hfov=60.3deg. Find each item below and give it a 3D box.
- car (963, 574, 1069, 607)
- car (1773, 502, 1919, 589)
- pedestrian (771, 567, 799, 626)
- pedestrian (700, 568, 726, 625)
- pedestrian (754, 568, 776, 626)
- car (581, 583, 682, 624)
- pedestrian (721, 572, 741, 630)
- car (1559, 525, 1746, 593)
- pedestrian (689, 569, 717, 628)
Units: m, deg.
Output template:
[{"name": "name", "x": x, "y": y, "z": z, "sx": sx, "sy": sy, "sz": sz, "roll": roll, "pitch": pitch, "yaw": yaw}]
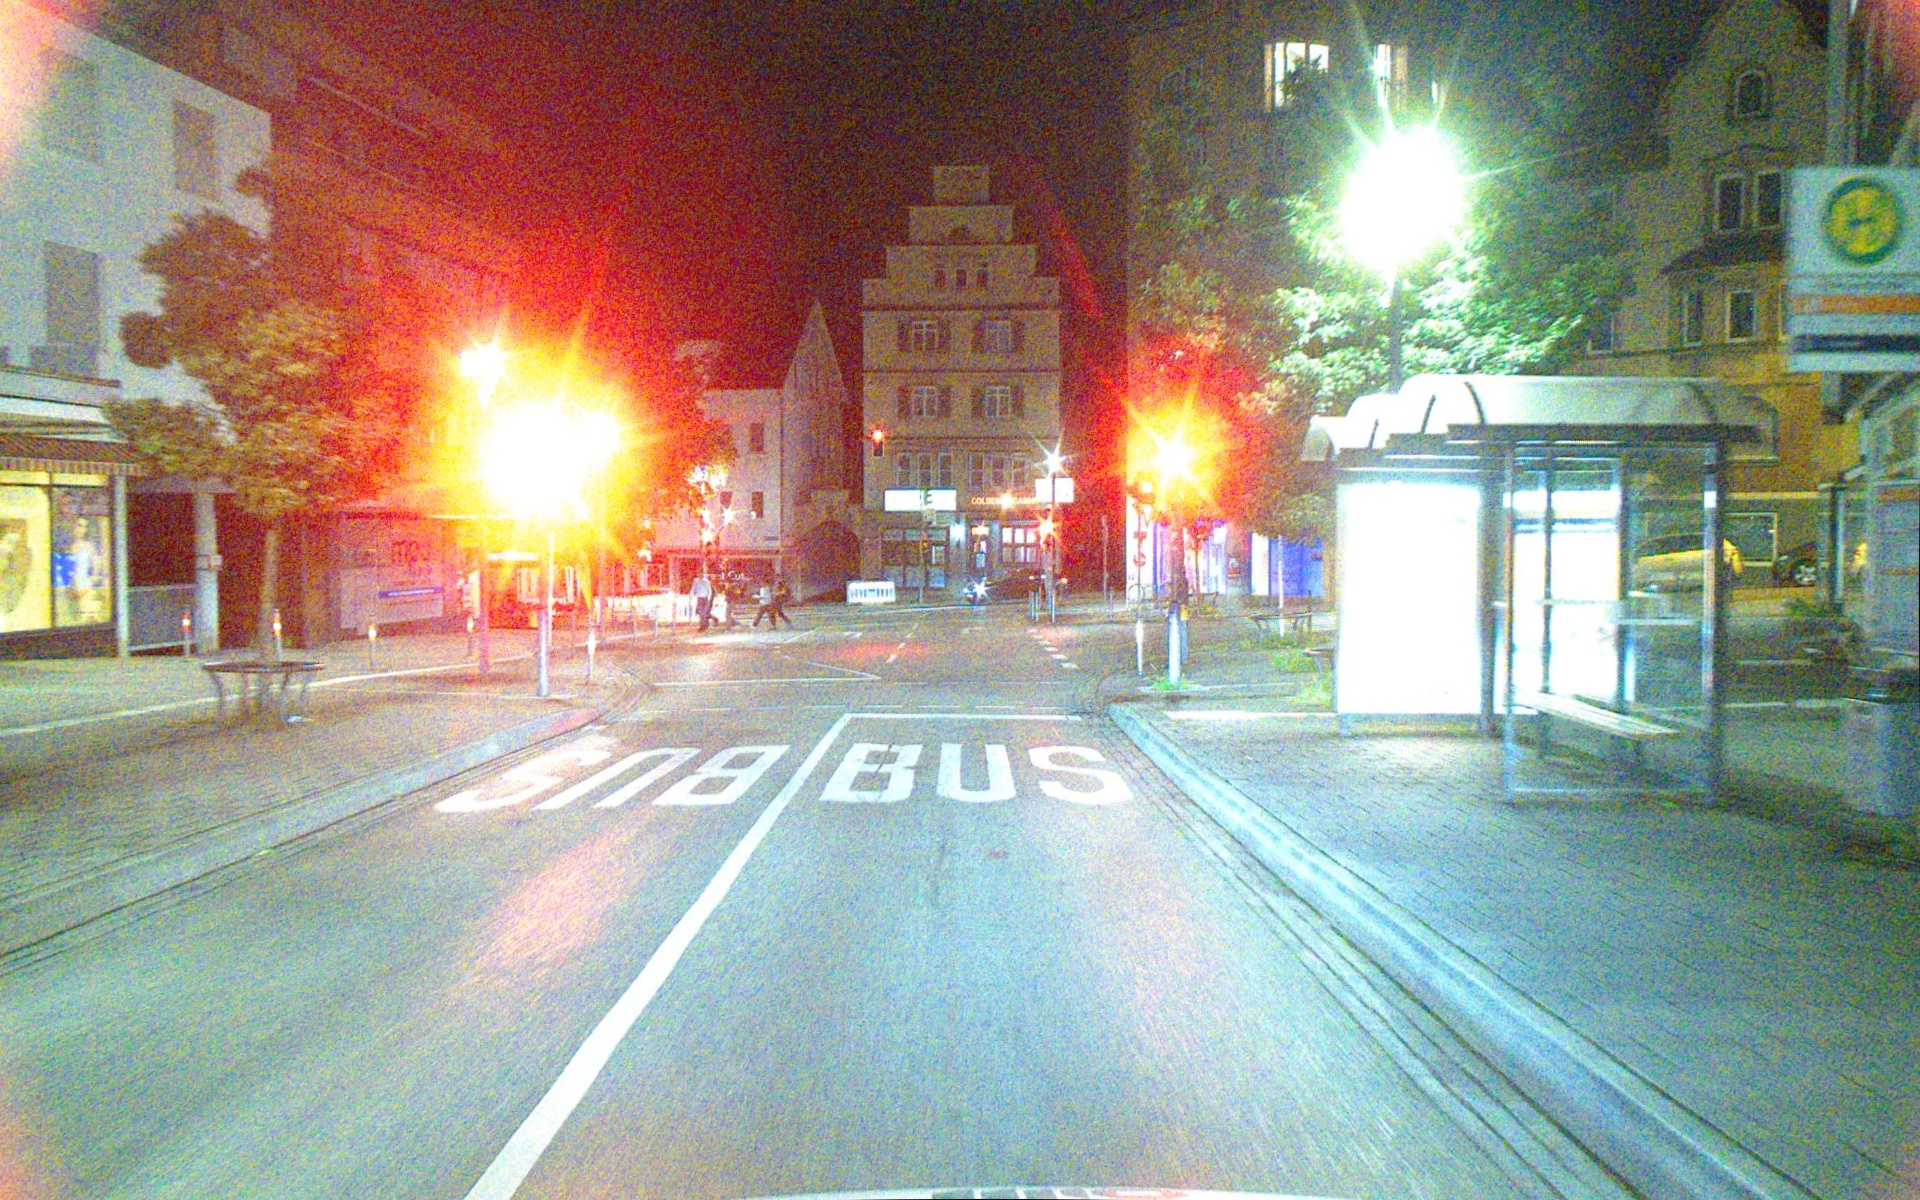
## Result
[{"name": "car", "x": 2.467, "y": -0.392, "z": 72.527, "sx": 4.350, "sy": 1.320, "sz": 1.632, "roll": 1, "pitch": -1, "yaw": -19}, {"name": "car", "x": 22.344, "y": -1.277, "z": 39.770, "sx": 4.748, "sy": 1.943, "sz": 2.151, "roll": 0, "pitch": -1, "yaw": 36}, {"name": "pedestrian", "x": -5.529, "y": -0.106, "z": 52.271, "sx": 0.724, "sy": 1.827, "sz": 0.714, "roll": 1, "pitch": -1, "yaw": -21}, {"name": "pedestrian", "x": -8.114, "y": -0.107, "z": 54.328, "sx": 0.562, "sy": 1.827, "sz": 0.710, "roll": 2, "pitch": -1, "yaw": -32}, {"name": "pedestrian", "x": -6.231, "y": -0.086, "z": 52.815, "sx": 0.559, "sy": 1.827, "sz": 0.714, "roll": 1, "pitch": -1, "yaw": -18}, {"name": "car", "x": -13.691, "y": 0.159, "z": 69.033, "sx": 3.672, "sy": 1.646, "sz": 1.836, "roll": 1, "pitch": -1, "yaw": 9}, {"name": "pedestrian", "x": -7.301, "y": 0.022, "z": 52.721, "sx": 0.557, "sy": 1.827, "sz": 0.717, "roll": 1, "pitch": -1, "yaw": -7}, {"name": "car", "x": 17.462, "y": -1.027, "z": 41.840, "sx": 3.956, "sy": 1.478, "sz": 1.827, "roll": -3, "pitch": 1, "yaw": 7}, {"name": "pedestrian", "x": -7.934, "y": -0.042, "z": 51.027, "sx": 0.700, "sy": 1.827, "sz": 0.570, "roll": 1, "pitch": -1, "yaw": 7}]
